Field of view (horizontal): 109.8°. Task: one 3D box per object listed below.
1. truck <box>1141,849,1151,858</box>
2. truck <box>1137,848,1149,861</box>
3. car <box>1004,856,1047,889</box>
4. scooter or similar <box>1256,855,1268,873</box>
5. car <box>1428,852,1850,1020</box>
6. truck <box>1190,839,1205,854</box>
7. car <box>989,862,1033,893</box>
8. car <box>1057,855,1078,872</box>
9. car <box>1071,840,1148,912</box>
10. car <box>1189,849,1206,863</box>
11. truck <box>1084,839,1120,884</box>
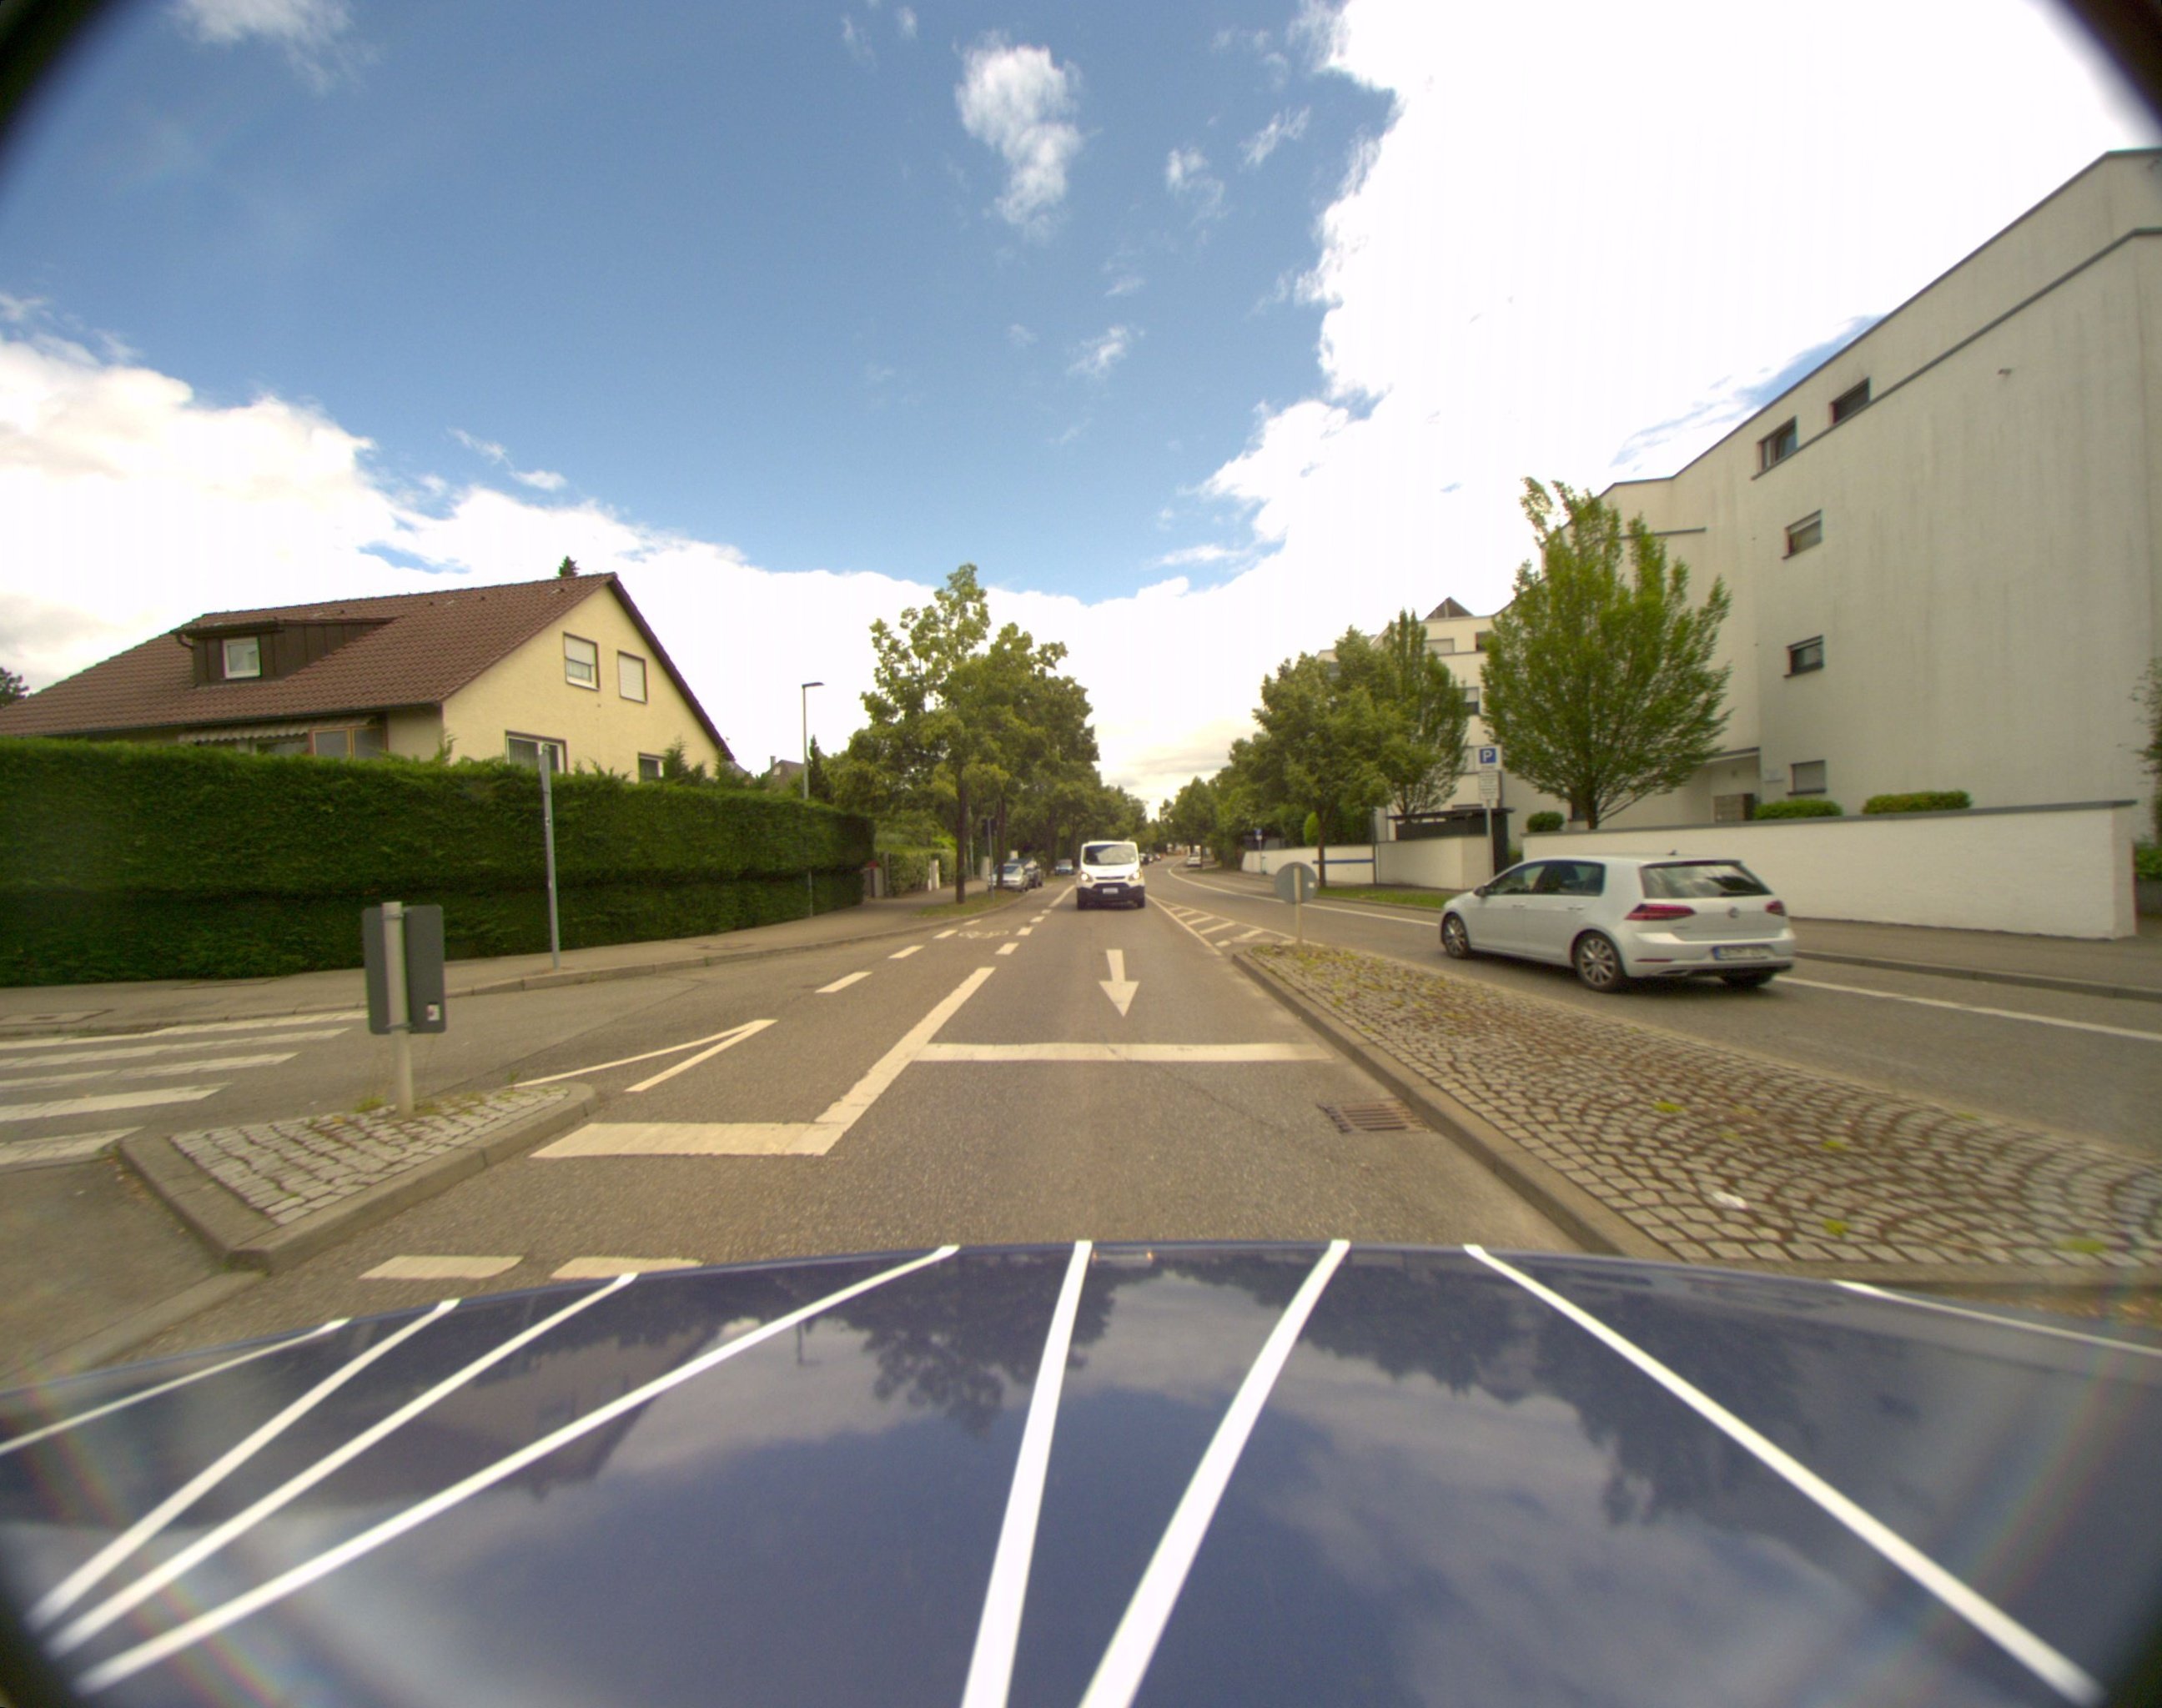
[{"bbox_3d":[11.756,-0.098,137.979,1.618,1.649,4.002,-1,0,7],"label":"truck"},{"bbox_3d":[9.399,0.050,115.043,1.614,1.780,4.002,-1,0,7],"label":"truck"},{"bbox_3d":[-3.000,0.958,41.881,1.769,1.626,4.549,-2,0,3],"label":"car"},{"bbox_3d":[12.002,0.634,50.419,0.434,1.159,1.327,-5,0,3],"label":"scooter or similar"},{"bbox_3d":[6.009,0.735,8.889,1.804,1.435,3.946,-2,1,-5],"label":"car"},{"bbox_3d":[22.321,-1.491,146.046,2.640,2.757,6.260,-2,1,8],"label":"truck"},{"bbox_3d":[-3.256,1.069,35.886,1.561,1.343,3.540,-1,0,2],"label":"car"},{"bbox_3d":[-1.196,0.889,69.678,1.666,1.398,3.658,-2,1,2],"label":"car"},{"bbox_3d":[0.984,0.594,23.722,2.074,1.956,5.558,-1,0,4],"label":"car"},{"bbox_3d":[14.292,0.189,93.242,1.915,1.643,4.003,-2,0,9],"label":"car"},{"bbox_3d":[1.308,0.408,47.005,2.036,2.555,6.058,-2,0,2],"label":"truck"}]
